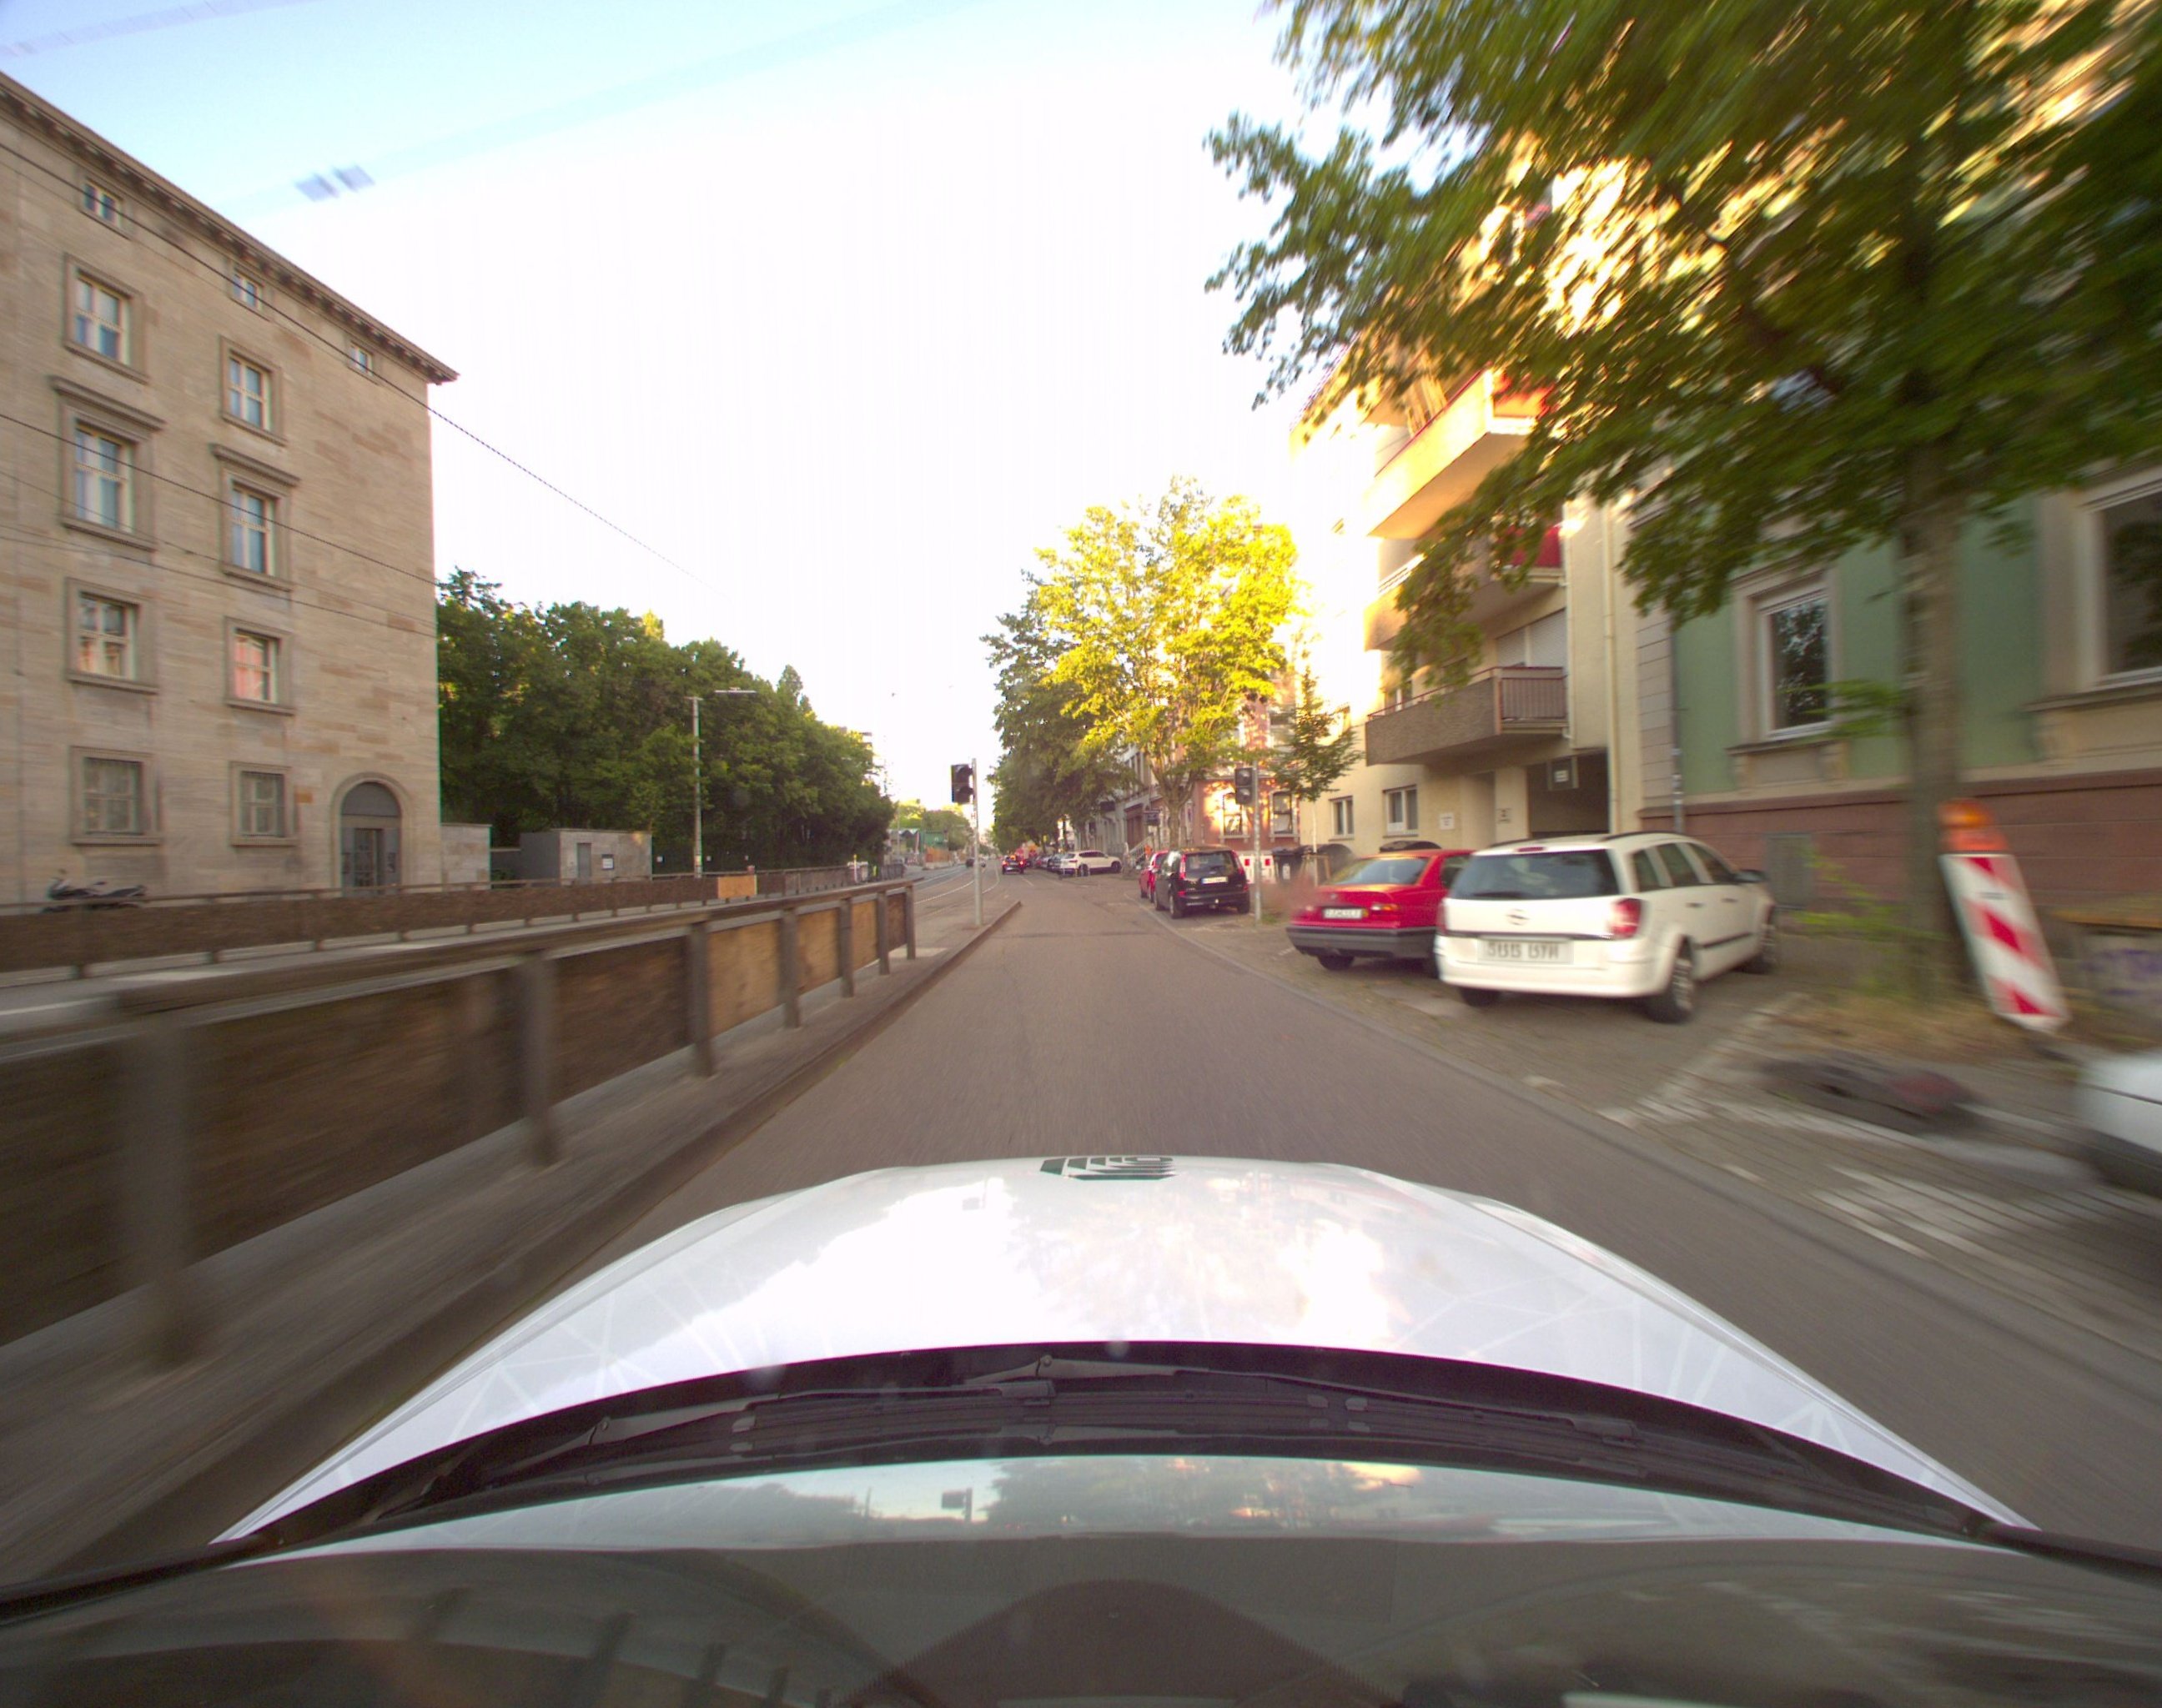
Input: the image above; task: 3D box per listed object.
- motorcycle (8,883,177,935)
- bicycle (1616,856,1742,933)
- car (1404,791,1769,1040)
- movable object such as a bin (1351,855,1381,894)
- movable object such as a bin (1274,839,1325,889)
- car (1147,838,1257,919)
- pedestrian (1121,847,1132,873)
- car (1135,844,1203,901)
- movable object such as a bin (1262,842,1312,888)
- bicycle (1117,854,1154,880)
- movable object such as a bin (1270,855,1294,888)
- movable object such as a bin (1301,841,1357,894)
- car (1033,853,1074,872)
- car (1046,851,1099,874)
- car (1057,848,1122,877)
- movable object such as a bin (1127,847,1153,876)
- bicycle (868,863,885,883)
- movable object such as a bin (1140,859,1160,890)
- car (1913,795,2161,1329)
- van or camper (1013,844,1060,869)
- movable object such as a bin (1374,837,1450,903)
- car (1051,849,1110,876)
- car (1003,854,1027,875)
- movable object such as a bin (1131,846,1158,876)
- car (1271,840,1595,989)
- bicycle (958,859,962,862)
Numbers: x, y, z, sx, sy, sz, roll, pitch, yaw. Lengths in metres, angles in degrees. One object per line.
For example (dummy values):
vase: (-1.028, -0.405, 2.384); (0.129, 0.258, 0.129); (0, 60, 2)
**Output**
motorcycle: (-24.298, 1.328, 20.124); (0.694, 1.074, 2.659); (-2, 0, 7)
bicycle: (8.996, 0.574, 12.330); (0.650, 1.074, 1.552); (-1, 0, -7)
car: (4.924, 0.404, 7.666); (4.232, 1.725, 1.701); (-1, 0, -41)
movable object such as a bin: (7.794, 0.558, 22.287); (0.553, 1.047, 0.569); (-1, 0, -8)
movable object such as a bin: (6.813, 0.301, 25.469); (1.071, 1.502, 1.315); (-1, 0, -8)
car: (2.770, 0.527, 19.531); (1.740, 1.632, 4.083); (-4, 0, -3)
pedestrian: (2.863, 0.369, 51.413); (0.585, 1.609, 0.623); (-1, 0, -6)
car: (2.649, 0.533, 25.324); (1.560, 1.536, 3.691); (-4, 0, -1)
movable object such as a bin: (6.981, 0.369, 27.671); (1.139, 1.502, 1.594); (-1, 0, -7)
bicycle: (2.749, 0.650, 40.980); (1.929, 1.266, 0.594); (-2, 0, -41)
movable object such as a bin: (6.525, 0.577, 26.450); (0.553, 1.047, 0.569); (-1, 0, -8)
movable object such as a bin: (7.320, 0.393, 24.093); (1.139, 1.502, 1.267); (-1, 0, -7)
car: (-2.982, 0.907, 88.896); (3.971, 1.603, 1.821); (-6, 1, -33)
car: (-0.666, 0.711, 66.370); (3.975, 1.603, 1.819); (-4, -1, -38)
car: (0.580, 0.535, 52.544); (3.974, 1.626, 1.655); (-4, 1, -37)
movable object such as a bin: (3.202, 0.411, 44.164); (1.139, 1.502, 1.396); (-1, 0, -7)
bicycle: (-11.474, 1.039, 45.752); (0.461, 1.075, 2.020); (-2, 0, -2)
movable object such as a bin: (2.567, 0.761, 30.270); (0.709, 1.153, 0.589); (-1, 0, 6)
car: (4.010, 0.564, 1.033); (1.676, 1.552, 3.997); (-5, 0, -2)
van or camper: (-5.490, 0.283, 100.496); (5.580, 2.530, 2.062); (-5, 0, -41)
movable object such as a bin: (7.948, 0.361, 19.643); (1.112, 1.502, 1.478); (-1, 0, -7)
car: (-0.018, 0.631, 59.972); (3.978, 1.668, 1.878); (-4, 0, -43)
car: (-5.546, 0.865, 68.144); (1.880, 1.620, 3.991); (1, -1, -7)
movable object such as a bin: (3.308, 0.368, 42.680); (1.139, 1.502, 1.396); (-1, 0, -7)
car: (4.440, 0.601, 10.048); (4.226, 1.454, 1.628); (-1, 0, -34)
bicycle: (-29.810, 1.570, 200.443); (0.947, 0.849, 2.688); (-1, 0, -9)
